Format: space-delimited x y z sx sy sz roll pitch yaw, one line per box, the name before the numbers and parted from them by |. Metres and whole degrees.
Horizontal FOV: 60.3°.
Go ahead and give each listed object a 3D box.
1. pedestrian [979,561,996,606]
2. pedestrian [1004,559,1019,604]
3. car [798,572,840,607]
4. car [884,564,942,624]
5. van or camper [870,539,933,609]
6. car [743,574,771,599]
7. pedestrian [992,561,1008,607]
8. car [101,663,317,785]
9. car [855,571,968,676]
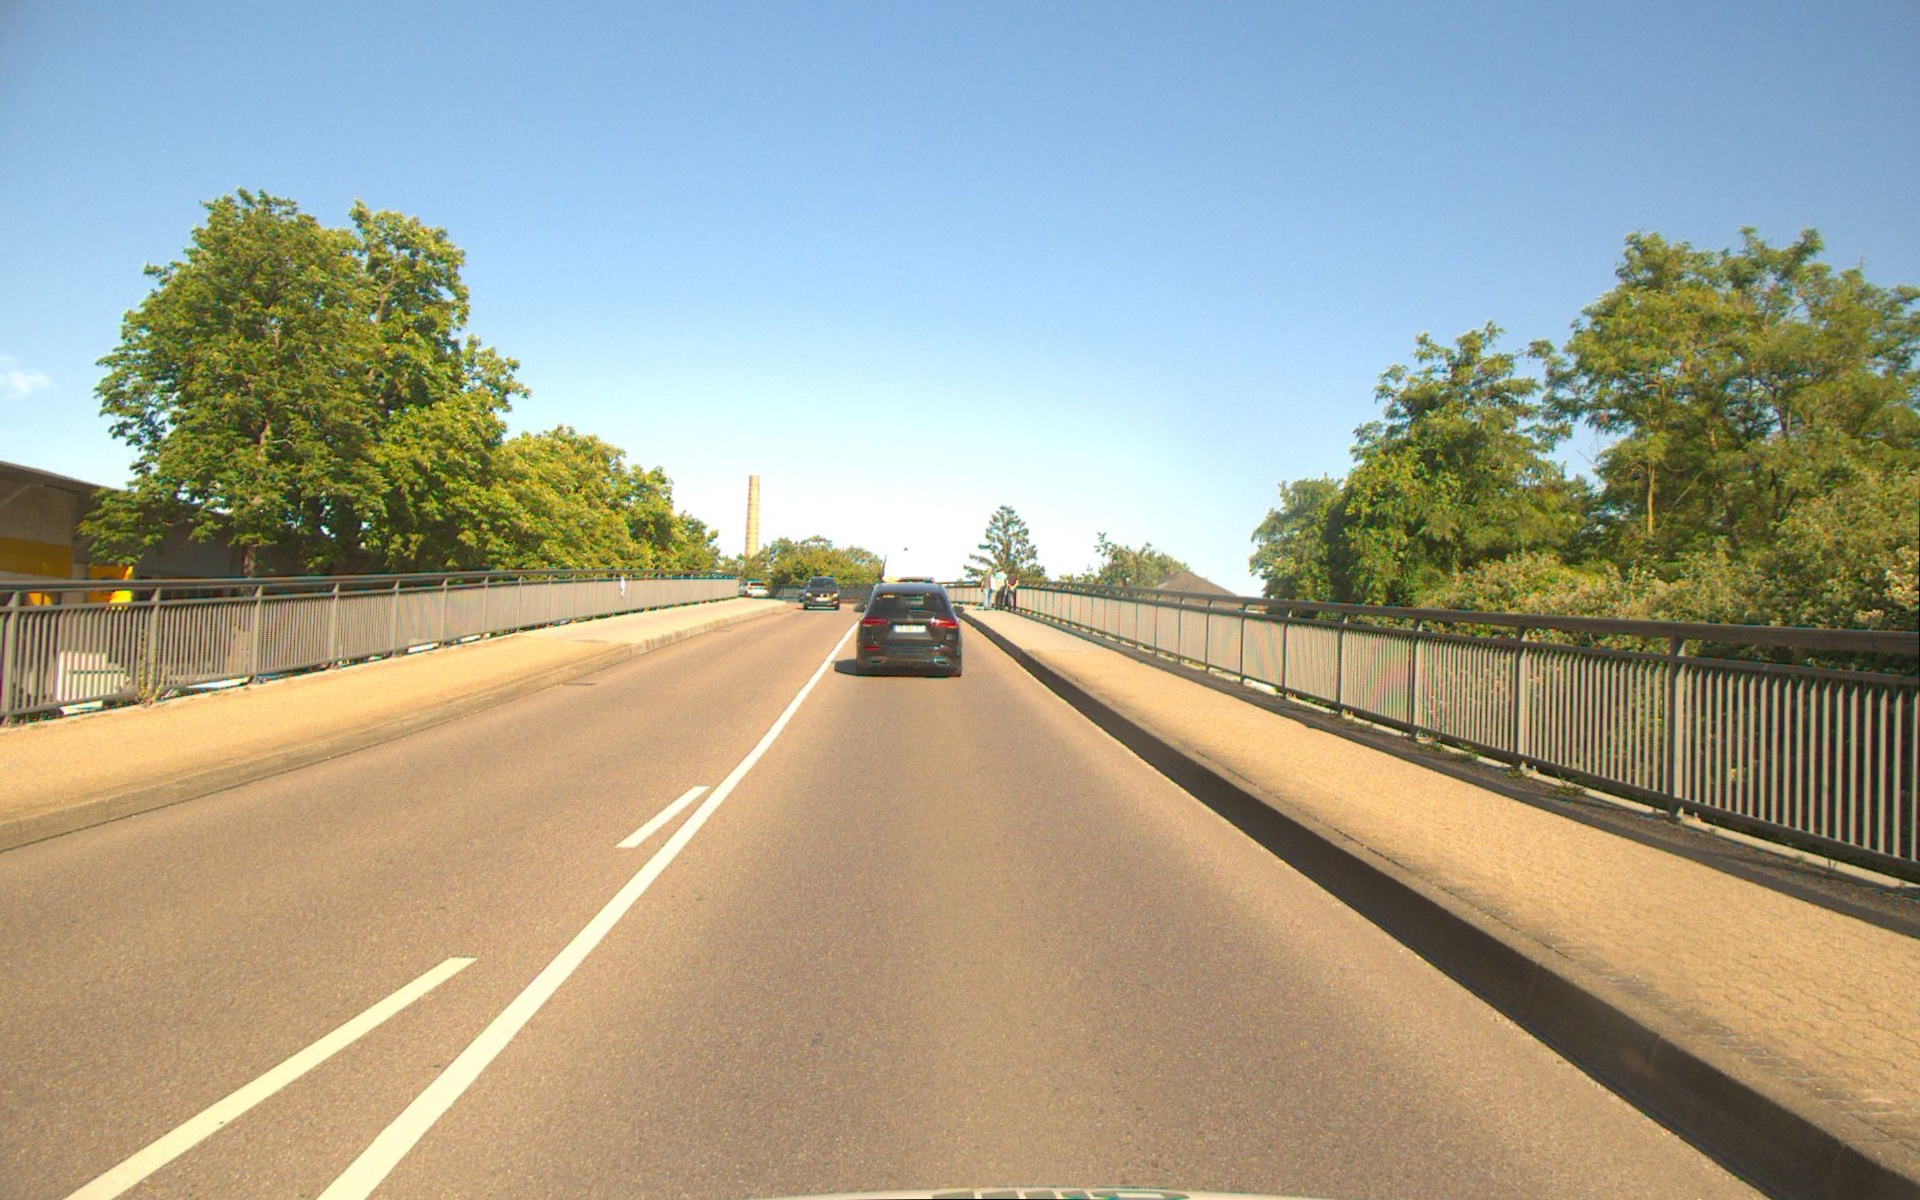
pedestrian | 1.104 -0.656 66.106 0.590 1.781 0.716 2 -2 -2
pedestrian | 2.061 -0.727 66.155 0.462 1.781 0.653 2 -2 -2
car | -6.348 -0.487 74.918 1.734 1.500 3.987 0 1 -3
car | -1.512 -0.155 54.247 1.768 1.669 3.999 2 -3 0
van or camper | -2.692 -1.102 74.257 2.183 2.787 7.069 2 -2 -6
car | -16.207 -1.056 132.161 1.954 1.710 3.995 1 -3 -5
pedestrian | 1.619 -0.645 66.941 0.538 1.781 0.738 2 -2 -2
car | -14.043 2.254 31.242 1.883 2.026 4.258 2 -2 3
car | -0.899 0.345 28.608 1.735 1.620 3.986 2 1 -4
